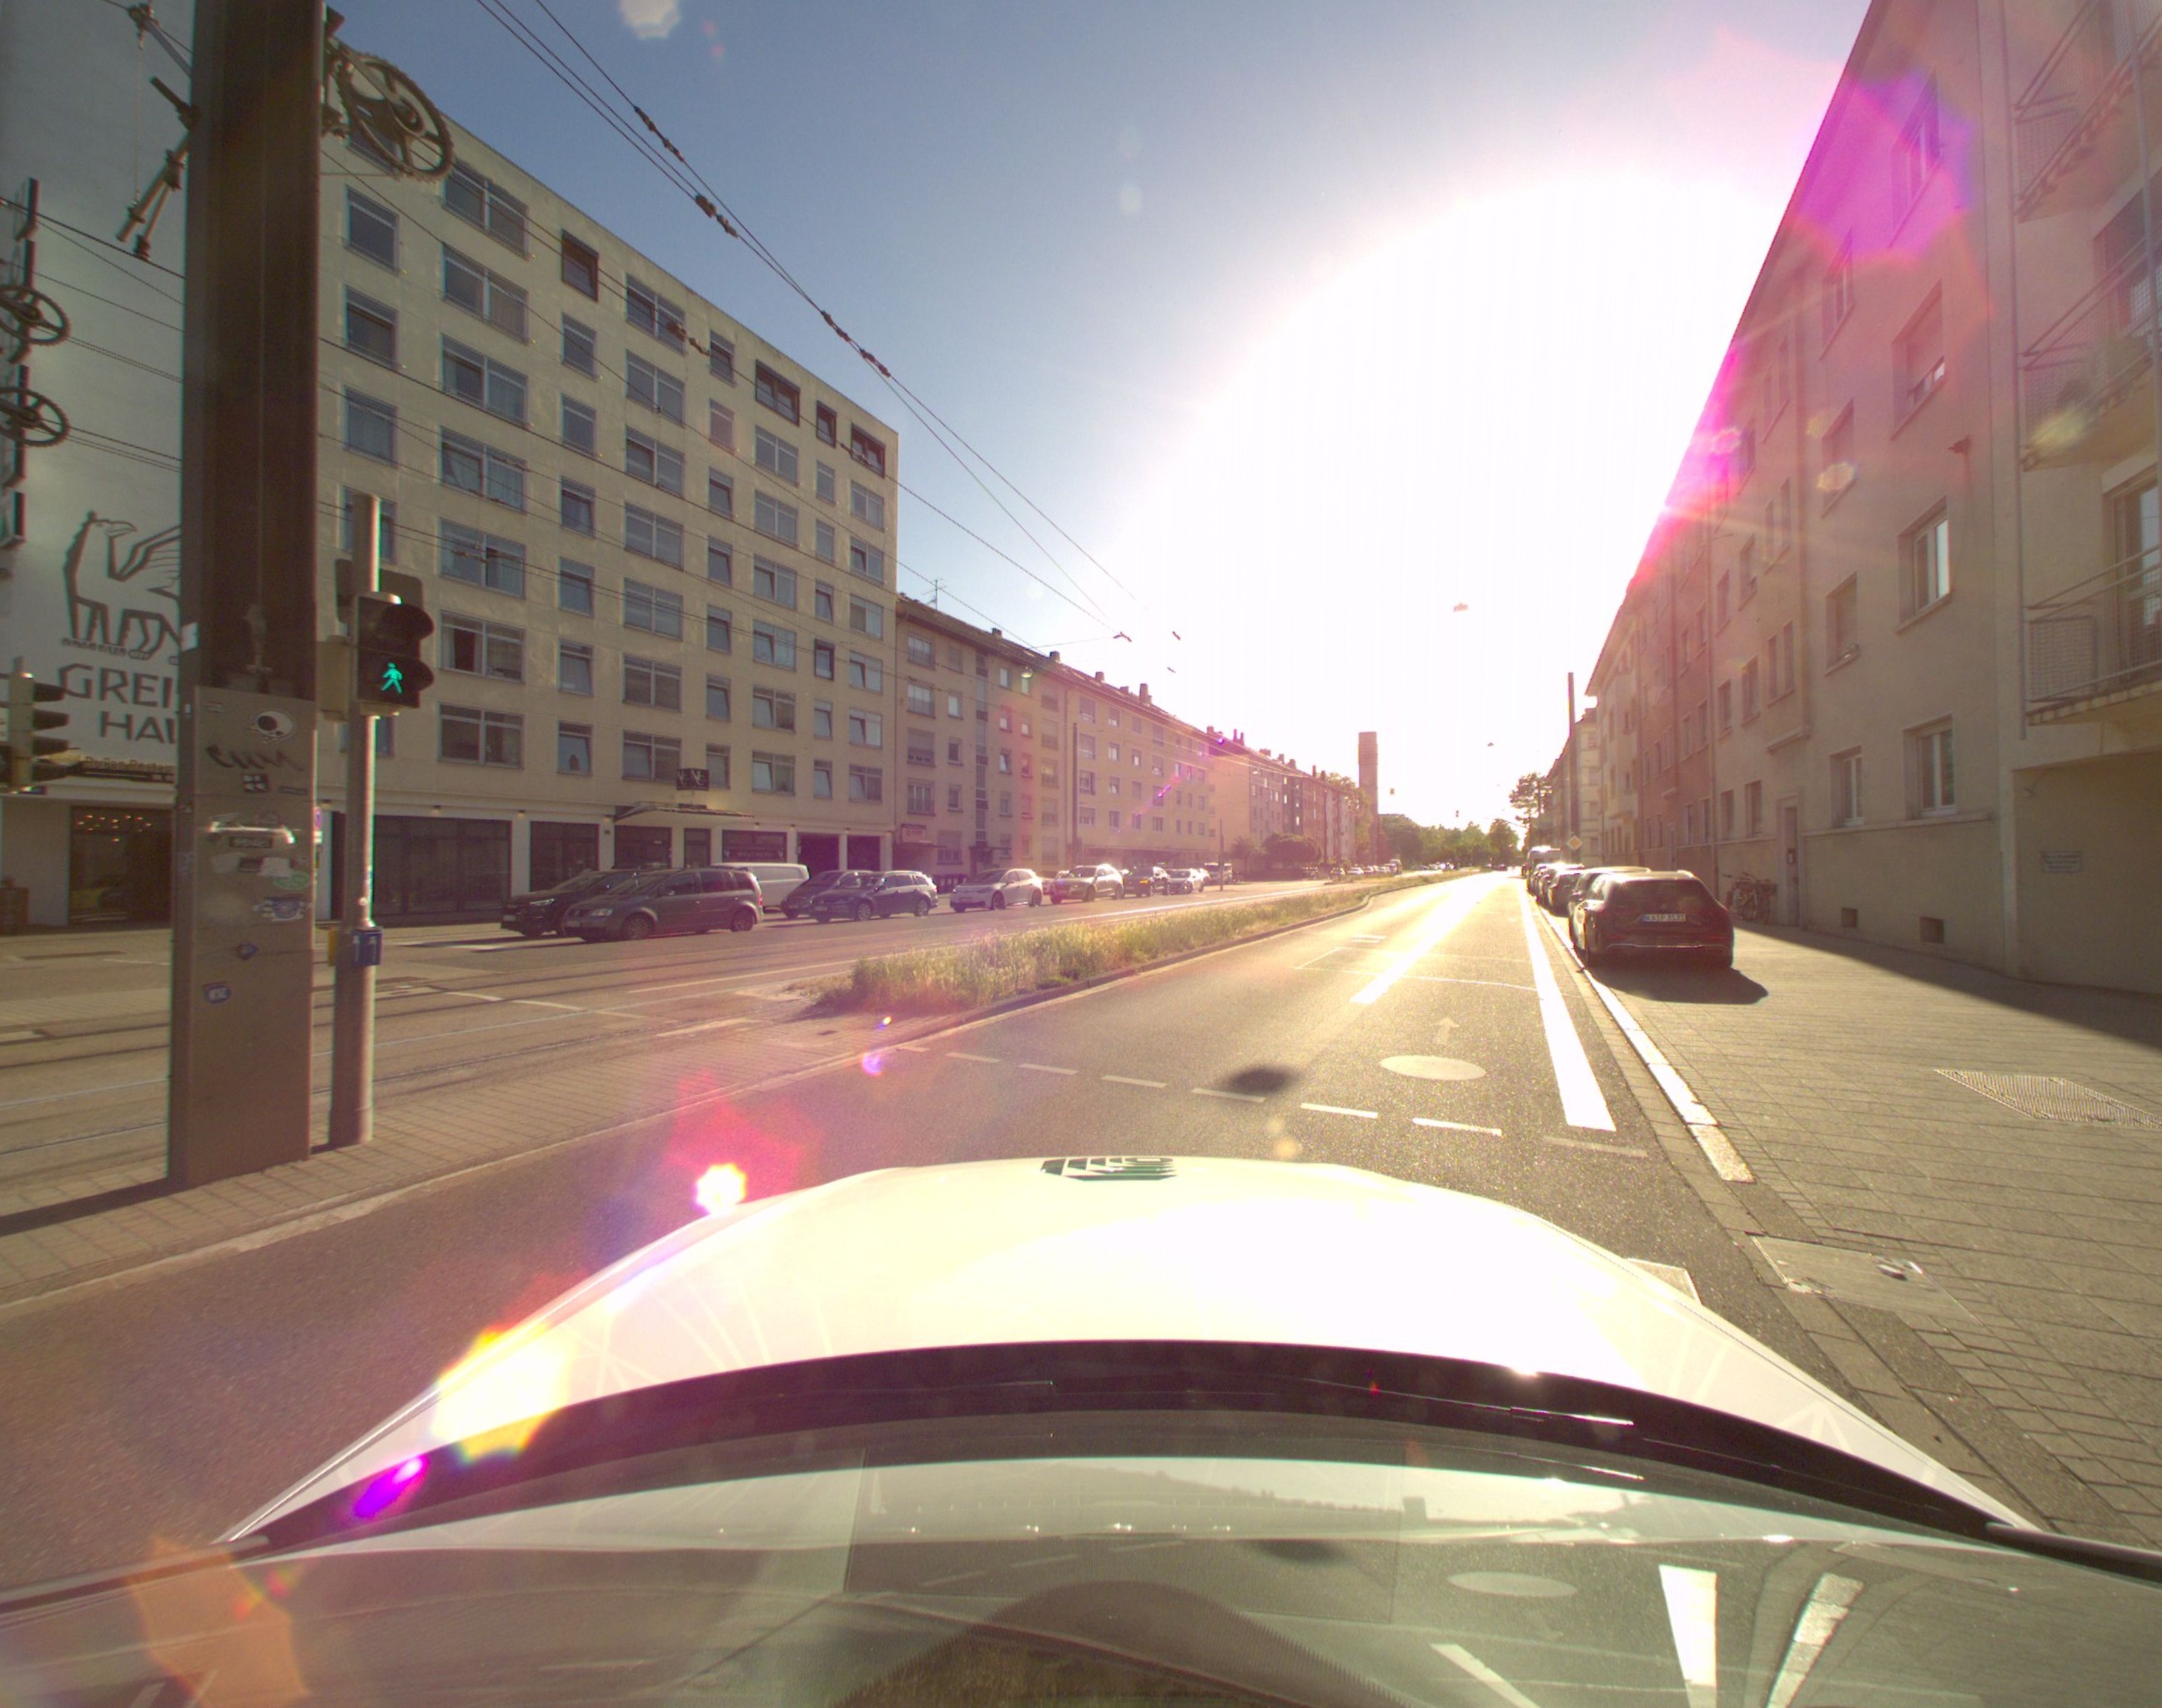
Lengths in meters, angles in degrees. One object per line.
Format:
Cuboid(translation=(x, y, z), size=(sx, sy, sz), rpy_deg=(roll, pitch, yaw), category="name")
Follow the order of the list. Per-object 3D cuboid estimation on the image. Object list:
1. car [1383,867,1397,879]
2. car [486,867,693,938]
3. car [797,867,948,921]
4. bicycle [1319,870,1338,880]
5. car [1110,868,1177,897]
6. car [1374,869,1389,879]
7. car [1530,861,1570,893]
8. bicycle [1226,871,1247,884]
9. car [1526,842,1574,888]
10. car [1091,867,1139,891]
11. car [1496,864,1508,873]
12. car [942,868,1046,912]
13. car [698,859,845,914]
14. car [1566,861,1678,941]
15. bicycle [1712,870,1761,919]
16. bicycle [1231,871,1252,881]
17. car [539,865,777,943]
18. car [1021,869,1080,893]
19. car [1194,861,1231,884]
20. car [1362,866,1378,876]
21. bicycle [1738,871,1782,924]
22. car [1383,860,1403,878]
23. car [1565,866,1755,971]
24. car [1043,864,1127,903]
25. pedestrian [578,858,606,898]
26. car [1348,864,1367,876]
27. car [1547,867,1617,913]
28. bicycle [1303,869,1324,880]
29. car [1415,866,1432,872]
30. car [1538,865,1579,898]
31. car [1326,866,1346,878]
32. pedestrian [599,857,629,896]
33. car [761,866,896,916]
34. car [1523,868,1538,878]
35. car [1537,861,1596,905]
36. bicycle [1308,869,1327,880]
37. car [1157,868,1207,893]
Cuboid(translation=(57.325, 3.530, 151.179), size=(1.975, 1.965, 4.778), rpy_deg=(-1, -3, 26), category="car")
Cuboid(translation=(-12.126, 1.153, 20.403), size=(1.772, 1.576, 4.069), rpy_deg=(-1, -2, 27), category="car")
Cuboid(translation=(-6.230, 1.197, 24.927), size=(1.801, 1.491, 4.569), rpy_deg=(-1, -2, 30), category="car")
Cuboid(translation=(30.945, 2.631, 101.775), size=(2.113, 1.325, 0.899), rpy_deg=(0, -3, 11), category="bicycle")
Cuboid(translation=(3.390, 1.506, 43.256), size=(1.945, 1.481, 4.595), rpy_deg=(-1, -2, 26), category="car")
Cuboid(translation=(51.974, 3.468, 140.756), size=(1.975, 1.554, 4.022), rpy_deg=(-1, -3, 26), category="car")
Cuboid(translation=(25.642, 1.241, 44.620), size=(1.575, 1.635, 3.941), rpy_deg=(-3, -2, 27), category="car")
Cuboid(translation=(15.523, 2.339, 81.428), size=(1.957, 1.206, 0.697), rpy_deg=(0, -3, 1), category="bicycle")
Cuboid(translation=(29.339, 0.730, 51.116), size=(2.138, 2.652, 5.676), rpy_deg=(-3, -2, 27), category="car")
Cuboid(translation=(2.448, 1.739, 57.722), size=(1.814, 1.581, 3.824), rpy_deg=(-1, -1, 29), category="car")
Cuboid(translation=(93.527, 3.208, 180.890), size=(1.976, 1.783, 4.020), rpy_deg=(-1, -3, 21), category="car")
Cuboid(translation=(-3.134, 1.306, 30.318), size=(1.821, 1.515, 4.268), rpy_deg=(-1, -2, 26), category="car")
Cuboid(translation=(-11.949, 1.214, 31.876), size=(1.924, 1.869, 5.358), rpy_deg=(2, 0, 28), category="car")
Cuboid(translation=(11.326, 0.966, 17.216), size=(1.538, 1.526, 3.006), rpy_deg=(-2, -3, 26), category="car")
Cuboid(translation=(17.129, 1.030, 21.324), size=(0.623, 1.193, 1.893), rpy_deg=(-3, -2, 29), category="bicycle")
Cuboid(translation=(16.399, 2.248, 83.104), size=(2.058, 1.022, 0.807), rpy_deg=(0, -3, 15), category="bicycle")
Cuboid(translation=(-9.460, 1.081, 18.646), size=(1.912, 1.548, 4.480), rpy_deg=(-1, -2, 30), category="car")
Cuboid(translation=(-1.840, 1.668, 50.118), size=(1.759, 1.435, 4.080), rpy_deg=(-1, -2, 29), category="car")
Cuboid(translation=(12.580, 1.778, 77.584), size=(1.985, 2.106, 5.336), rpy_deg=(-1, -2, 27), category="car")
Cuboid(translation=(45.261, 2.682, 127.569), size=(1.975, 1.554, 4.022), rpy_deg=(-1, -3, 26), category="car")
Cuboid(translation=(16.299, 1.019, 19.570), size=(0.509, 1.193, 1.566), rpy_deg=(-1, -1, 29), category="bicycle")
Cuboid(translation=(60.989, 2.901, 159.310), size=(2.958, 3.238, 6.831), rpy_deg=(-1, -3, 26), category="car")
Cuboid(translation=(9.290, 0.958, 13.481), size=(1.866, 1.398, 4.769), rpy_deg=(-3, -3, 28), category="car")
Cuboid(translation=(0.254, 1.289, 36.689), size=(1.847, 1.577, 4.658), rpy_deg=(-3, -2, 27), category="car")
Cuboid(translation=(-17.204, 0.853, 28.664), size=(0.495, 1.376, 0.604), rpy_deg=(0, -3, 14), category="pedestrian")
Cuboid(translation=(40.249, 2.363, 118.479), size=(1.975, 1.581, 4.022), rpy_deg=(-1, -3, 26), category="car")
Cuboid(translation=(17.589, 1.220, 28.739), size=(1.756, 1.471, 4.118), rpy_deg=(-3, -2, 27), category="car")
Cuboid(translation=(28.070, 2.470, 98.342), size=(2.288, 1.305, 0.918), rpy_deg=(-1, -4, 25), category="bicycle")
Cuboid(translation=(88.928, 3.884, 211.289), size=(3.952, 1.684, 2.010), rpy_deg=(-1, -3, 22), category="car")
Cuboid(translation=(21.935, 1.251, 37.441), size=(1.488, 1.426, 3.474), rpy_deg=(-3, -2, 30), category="car")
Cuboid(translation=(33.596, 2.446, 107.352), size=(1.975, 1.453, 4.022), rpy_deg=(-1, -3, 26), category="car")
Cuboid(translation=(-16.365, 0.790, 28.571), size=(0.679, 1.376, 0.529), rpy_deg=(0, -3, 6), category="pedestrian")
Cuboid(translation=(-8.601, 1.254, 28.163), size=(1.964, 1.576, 4.348), rpy_deg=(-1, -2, 27), category="car")
Cuboid(translation=(70.829, 2.951, 128.330), size=(1.879, 1.488, 3.761), rpy_deg=(-1, -3, 27), category="car")
Cuboid(translation=(19.695, 1.150, 33.182), size=(1.646, 1.644, 4.208), rpy_deg=(-3, -2, 26), category="car")
Cuboid(translation=(29.006, 2.549, 99.921), size=(2.109, 1.325, 0.901), rpy_deg=(-1, -3, 22), category="bicycle")
Cuboid(translation=(6.176, 1.641, 49.428), size=(1.806, 1.446, 4.308), rpy_deg=(-1, -2, 24), category="car")
